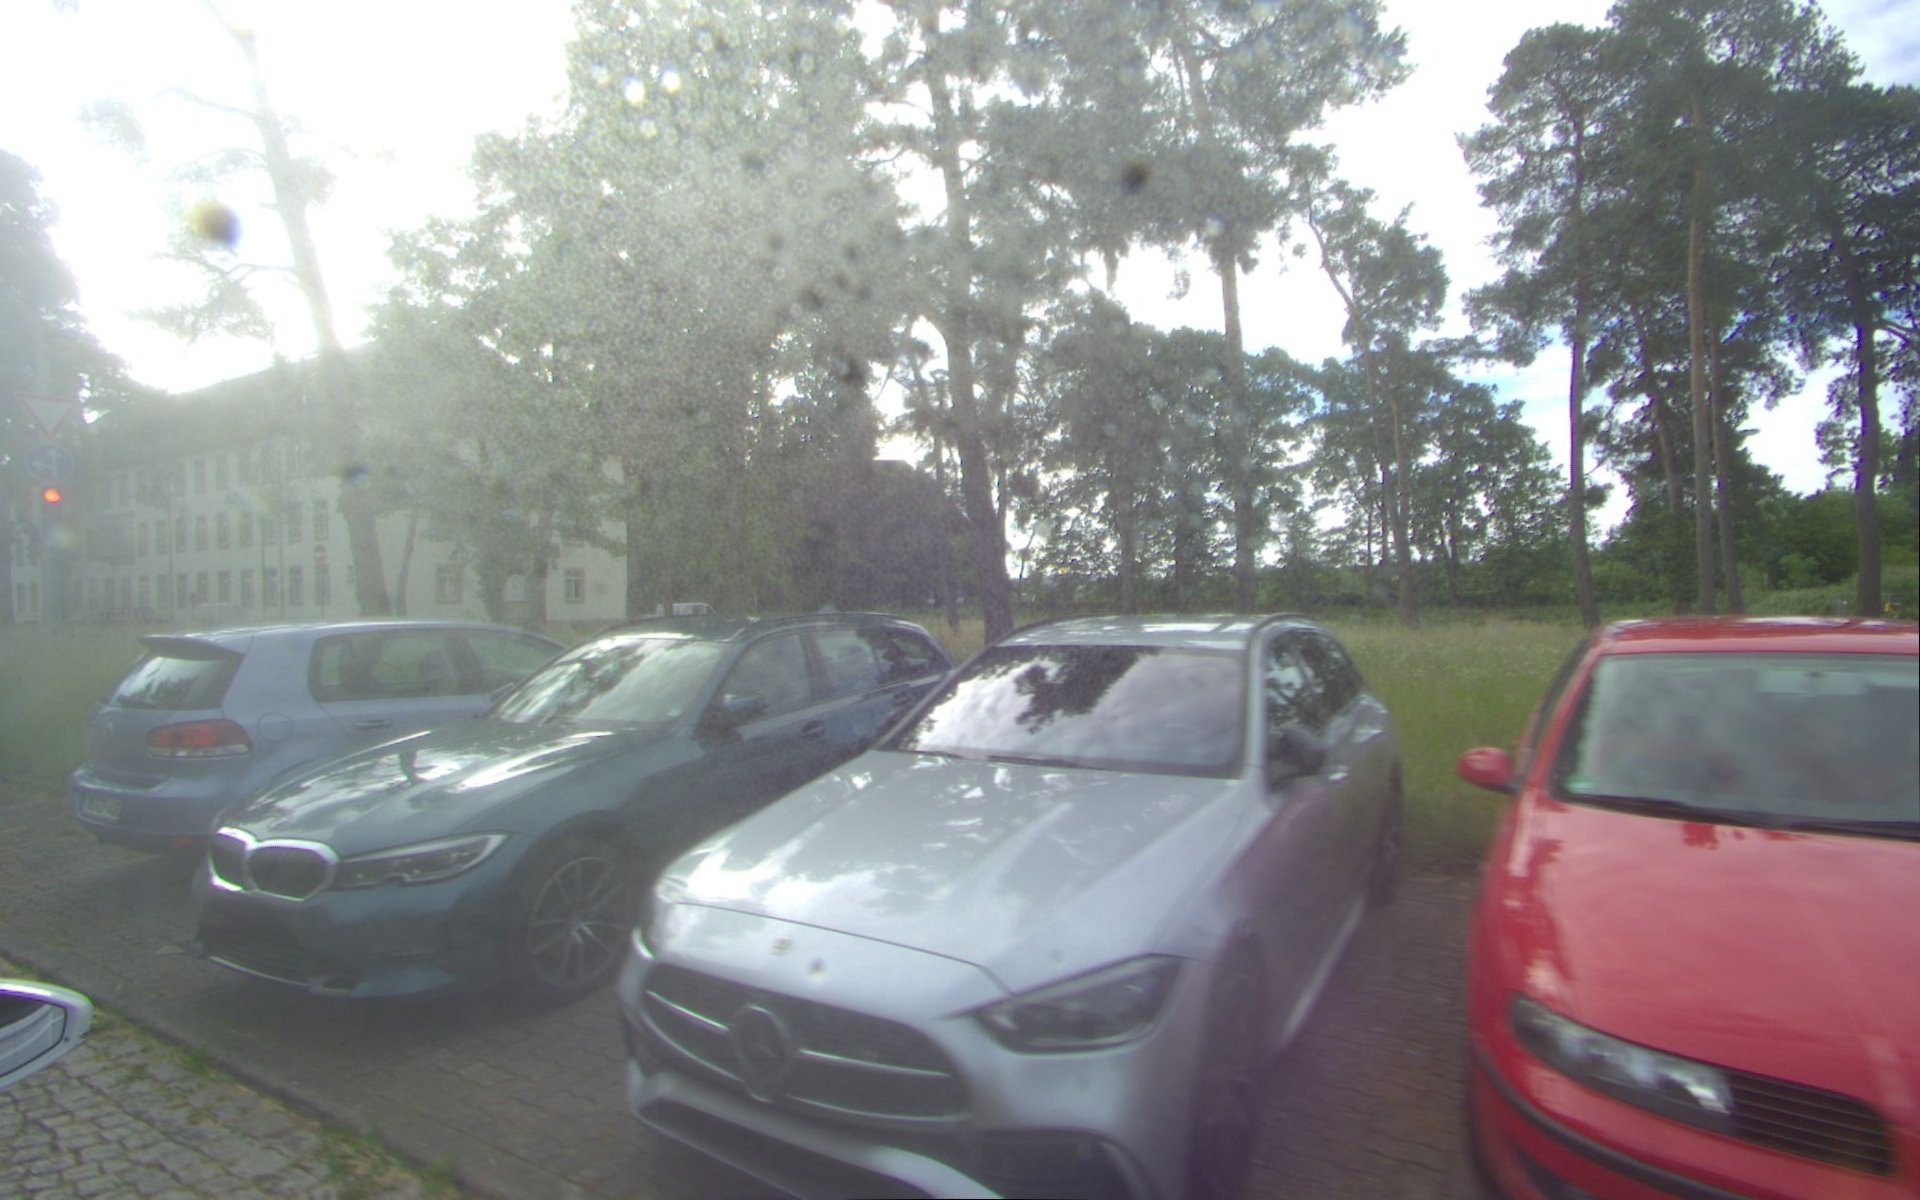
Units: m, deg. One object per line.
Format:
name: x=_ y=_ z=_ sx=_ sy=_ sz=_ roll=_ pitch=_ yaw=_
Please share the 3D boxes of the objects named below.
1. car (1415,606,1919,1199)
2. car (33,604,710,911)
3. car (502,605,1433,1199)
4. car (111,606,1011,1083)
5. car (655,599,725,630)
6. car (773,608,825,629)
car: x=2.643 y=0.762 z=3.095 sx=1.774 sy=1.471 sz=3.954 roll=0 pitch=0 yaw=32
car: x=-3.689 y=0.791 z=6.972 sx=1.582 sy=1.446 sz=3.756 roll=0 pitch=1 yaw=31
car: x=0.753 y=0.784 z=4.279 sx=1.786 sy=1.502 sz=4.748 roll=0 pitch=0 yaw=32
car: x=-1.514 y=0.797 z=5.689 sx=1.734 sy=1.502 sz=4.752 roll=0 pitch=0 yaw=29
car: x=-21.253 y=1.109 z=78.948 sx=2.182 sy=2.318 sz=5.169 roll=0 pitch=0 yaw=33
car: x=-11.862 y=1.373 z=73.914 sx=1.972 sy=1.527 sz=3.474 roll=-1 pitch=0 yaw=33
